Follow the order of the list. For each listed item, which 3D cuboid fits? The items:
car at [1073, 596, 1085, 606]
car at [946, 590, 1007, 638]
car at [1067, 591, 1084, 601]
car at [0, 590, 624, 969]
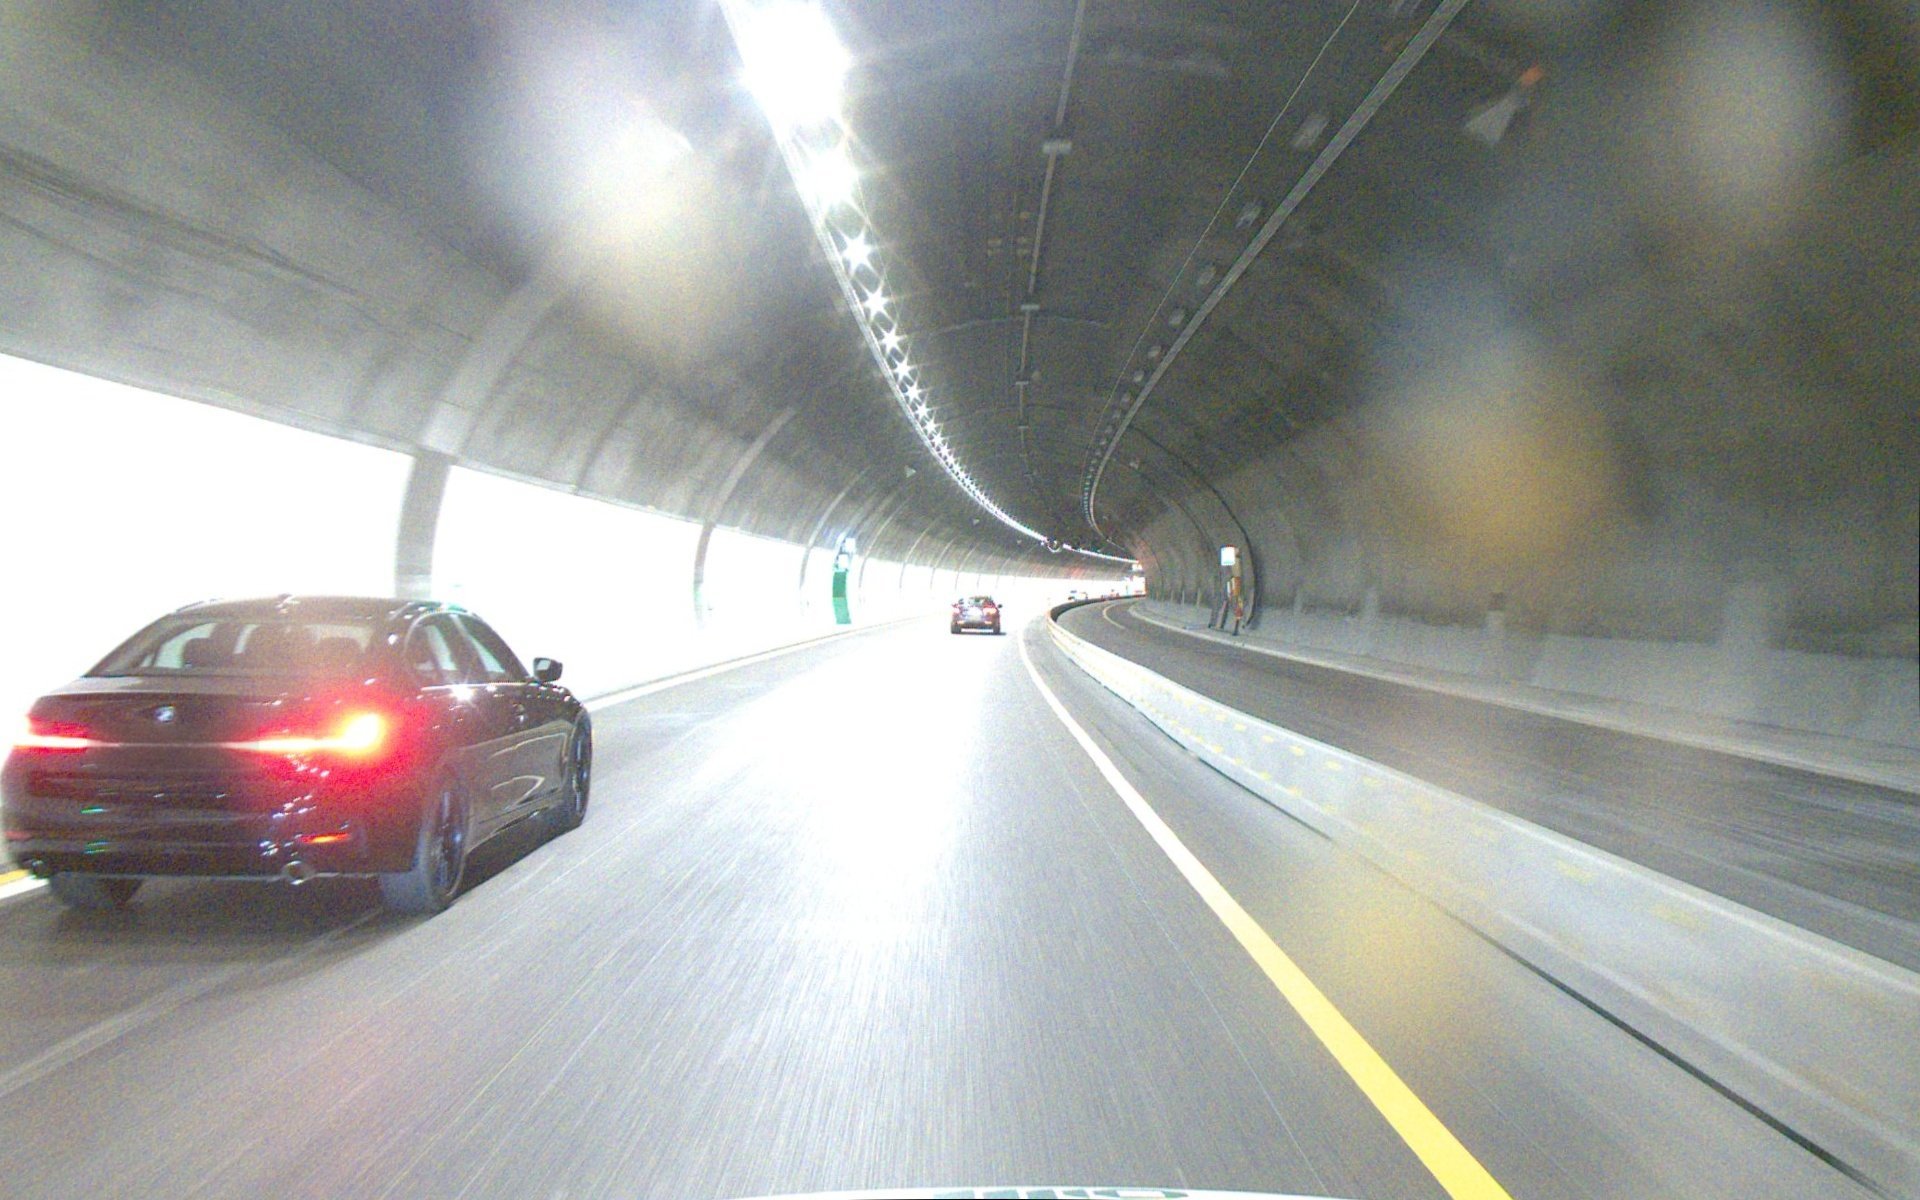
[{"bbox_3d":[16.346,0.084,226.423,1.561,1.356,3.753,1,0,5],"label":"car"},{"bbox_3d":[0.673,0.489,63.131,2.096,1.735,4.002,1,0,3],"label":"car"},{"bbox_3d":[17.526,-0.564,250.389,2.118,1.512,4.004,1,0,11],"label":"car"},{"bbox_3d":[-3.192,0.697,8.975,1.742,1.463,4.882,1,0,-1],"label":"car"}]
